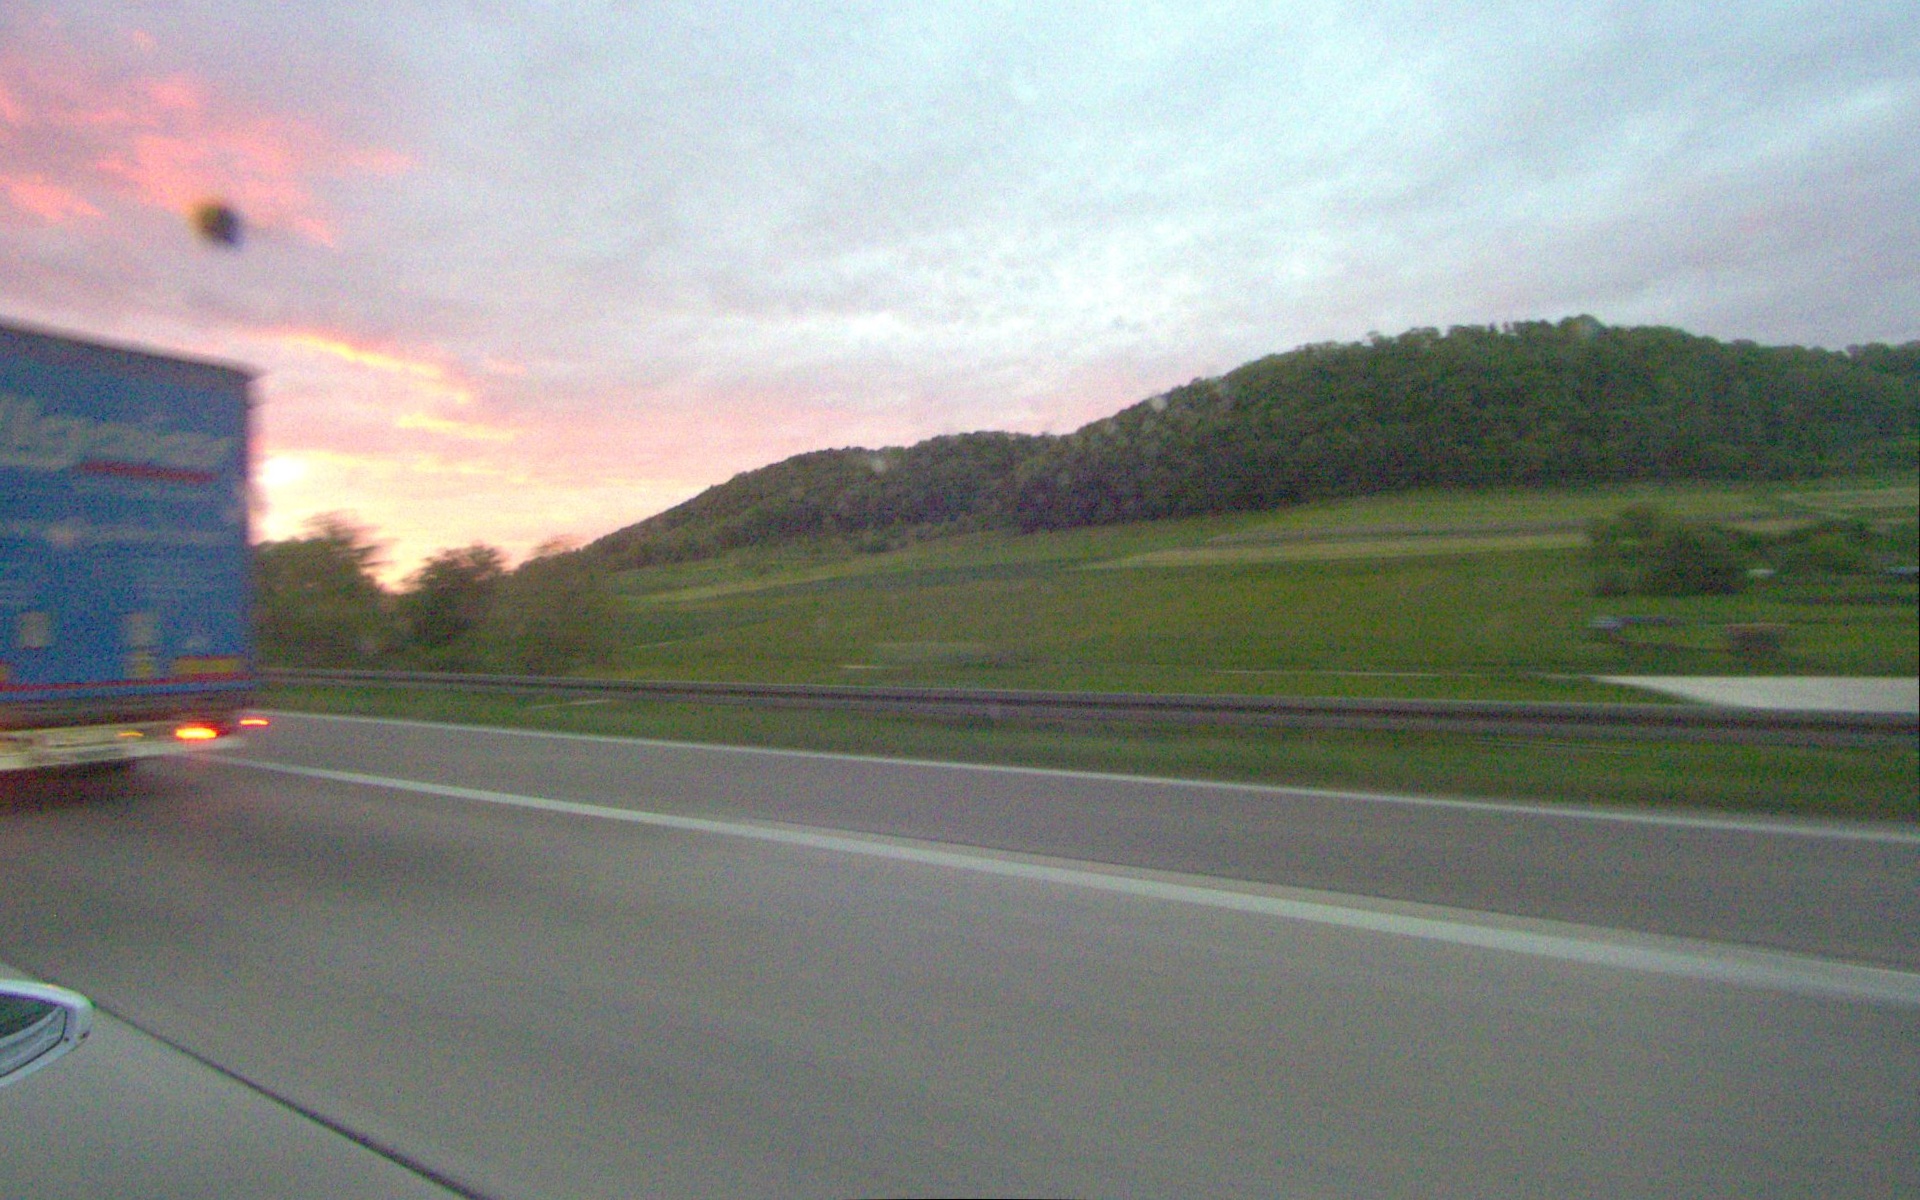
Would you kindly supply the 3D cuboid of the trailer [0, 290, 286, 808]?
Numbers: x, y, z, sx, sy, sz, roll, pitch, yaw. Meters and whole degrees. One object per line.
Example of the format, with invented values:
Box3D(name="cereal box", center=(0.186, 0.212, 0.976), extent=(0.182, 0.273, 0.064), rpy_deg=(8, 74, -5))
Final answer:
Box3D(name="trailer", center=(-13.008, -0.241, 12.262), extent=(13.545, 4.138, 2.766), rpy_deg=(-1, -2, 33))
